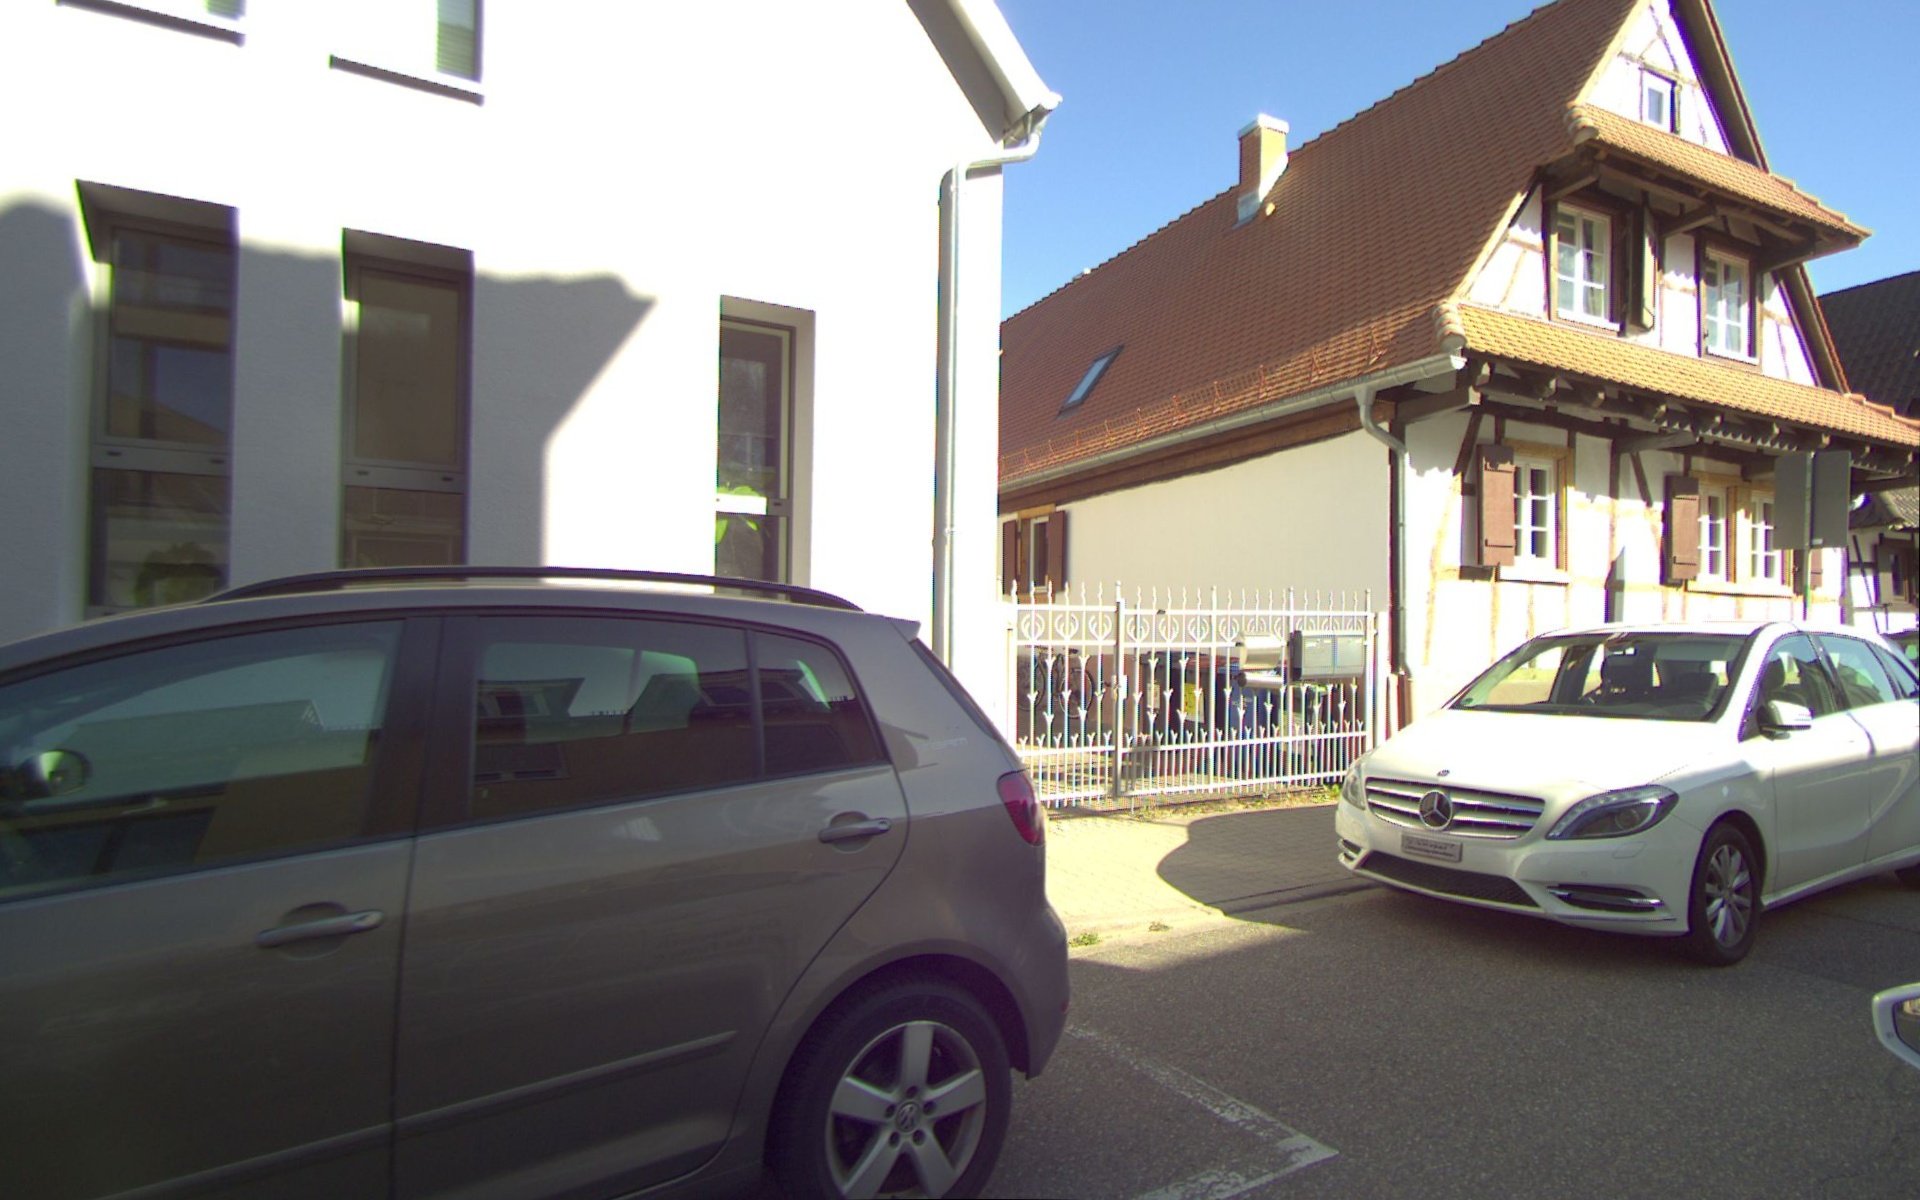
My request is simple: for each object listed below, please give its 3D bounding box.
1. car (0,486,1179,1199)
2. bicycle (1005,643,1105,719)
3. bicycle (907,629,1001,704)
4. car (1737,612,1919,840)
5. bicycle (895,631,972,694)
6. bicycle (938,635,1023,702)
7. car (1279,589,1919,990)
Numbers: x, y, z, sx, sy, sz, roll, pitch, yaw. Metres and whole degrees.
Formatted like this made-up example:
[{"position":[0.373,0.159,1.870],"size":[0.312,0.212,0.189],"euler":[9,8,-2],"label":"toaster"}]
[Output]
[{"position":[-1.520,0.675,2.498],"size":[3.955,1.635,1.733],"euler":[2,-2,-32],"label":"car"},{"position":[1.296,1.093,13.968],"size":[0.447,0.931,1.636],"euler":[2,-1,-33],"label":"bicycle"},{"position":[-0.116,0.976,15.127],"size":[0.529,0.967,1.708],"euler":[2,1,-33],"label":"bicycle"},{"position":[8.615,0.962,8.437],"size":[4.308,1.626,1.776],"euler":[2,-2,-29],"label":"car"},{"position":[-0.451,0.994,16.312],"size":[0.447,0.931,1.636],"euler":[2,-1,-33],"label":"bicycle"},{"position":[0.291,1.033,15.488],"size":[0.447,0.931,1.636],"euler":[2,-1,-33],"label":"bicycle"},{"position":[4.001,0.836,5.798],"size":[4.118,1.587,1.808],"euler":[2,-2,-29],"label":"car"}]
